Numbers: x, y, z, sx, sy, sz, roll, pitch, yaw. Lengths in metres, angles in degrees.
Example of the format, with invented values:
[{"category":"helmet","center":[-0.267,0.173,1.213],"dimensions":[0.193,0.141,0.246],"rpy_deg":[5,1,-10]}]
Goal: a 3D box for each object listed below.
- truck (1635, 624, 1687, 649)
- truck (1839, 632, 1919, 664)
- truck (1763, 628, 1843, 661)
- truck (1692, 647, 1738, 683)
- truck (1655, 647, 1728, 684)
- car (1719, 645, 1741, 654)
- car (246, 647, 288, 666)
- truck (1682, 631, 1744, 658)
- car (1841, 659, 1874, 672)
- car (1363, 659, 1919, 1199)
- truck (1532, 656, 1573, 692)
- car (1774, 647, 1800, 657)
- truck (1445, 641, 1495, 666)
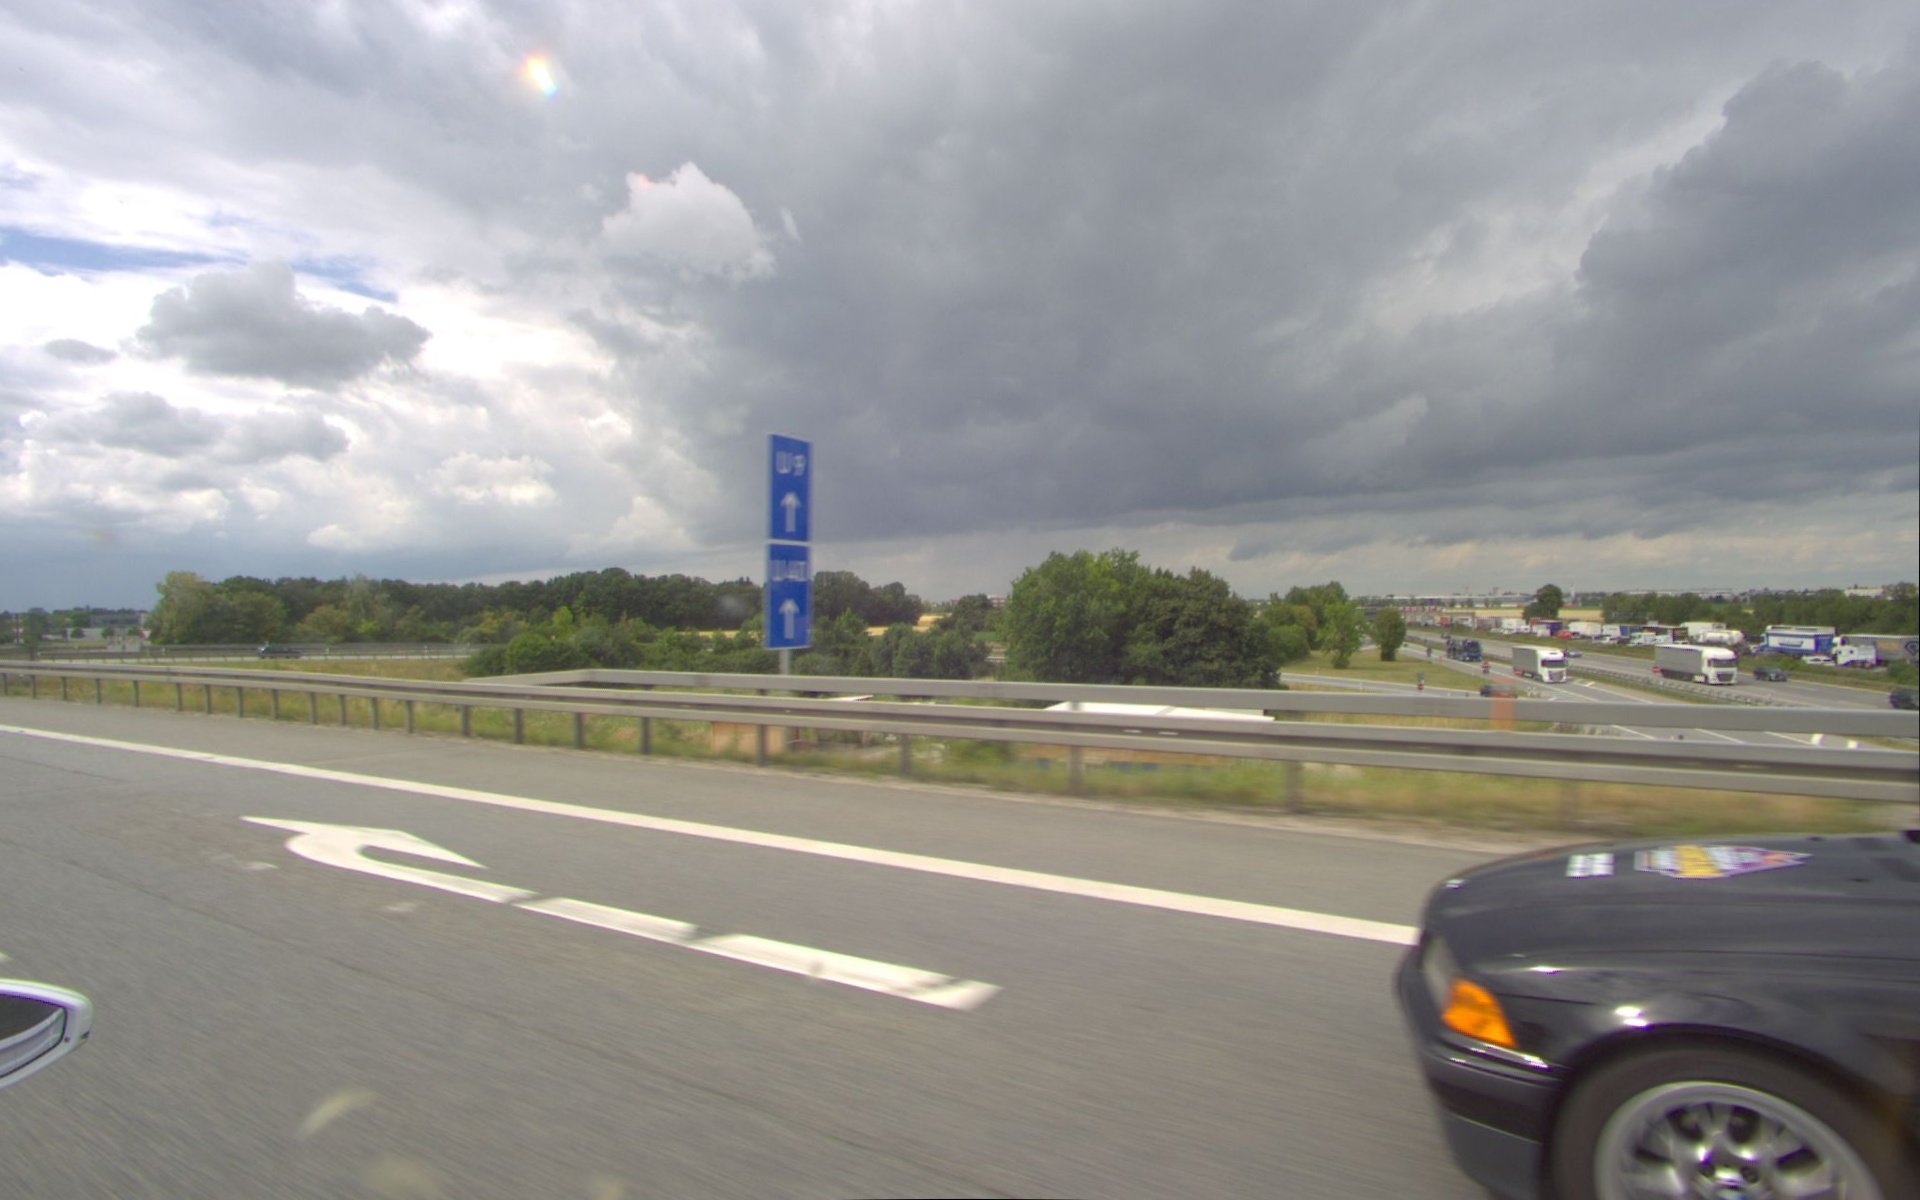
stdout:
[{"category":"truck","center":[145.258,7.568,207.762],"dimensions":[4.012,4.882,15.340],"rpy_deg":[0,-2,16]},{"category":"truck","center":[126.984,6.463,137.304],"dimensions":[4.069,4.083,14.876],"rpy_deg":[0,-2,18]},{"category":"truck","center":[132.166,6.919,157.392],"dimensions":[4.011,4.882,14.476],"rpy_deg":[0,-2,16]},{"category":"truck","center":[85.536,7.314,113.529],"dimensions":[2.451,3.727,5.160],"rpy_deg":[0,0,16]},{"category":"truck","center":[87.261,7.728,119.774],"dimensions":[2.451,3.727,13.125],"rpy_deg":[0,-1,15]},{"category":"car","center":[132.580,8.485,172.502],"dimensions":[1.707,1.505,3.995],"rpy_deg":[0,-1,17]},{"category":"car","center":[-78.990,6.454,114.222],"dimensions":[1.749,2.037,4.005],"rpy_deg":[1,-4,5]},{"category":"truck","center":[139.138,8.146,185.247],"dimensions":[4.012,4.882,15.340],"rpy_deg":[0,-2,16]},{"category":"car","center":[115.315,8.436,128.710],"dimensions":[1.707,1.505,3.994],"rpy_deg":[0,-1,18]},{"category":"car","center":[3.201,0.827,1.876],"dimensions":[4.305,1.297,1.700],"rpy_deg":[-1,-2,34]},{"category":"truck","center":[74.187,9.238,125.535],"dimensions":[2.936,4.152,6.521],"rpy_deg":[0,-1,17]},{"category":"car","center":[127.381,8.003,154.231],"dimensions":[1.707,1.505,3.995],"rpy_deg":[0,-1,17]},{"category":"truck","center":[89.877,9.294,176.843],"dimensions":[3.921,4.111,19.032],"rpy_deg":[-1,-2,15]}]
